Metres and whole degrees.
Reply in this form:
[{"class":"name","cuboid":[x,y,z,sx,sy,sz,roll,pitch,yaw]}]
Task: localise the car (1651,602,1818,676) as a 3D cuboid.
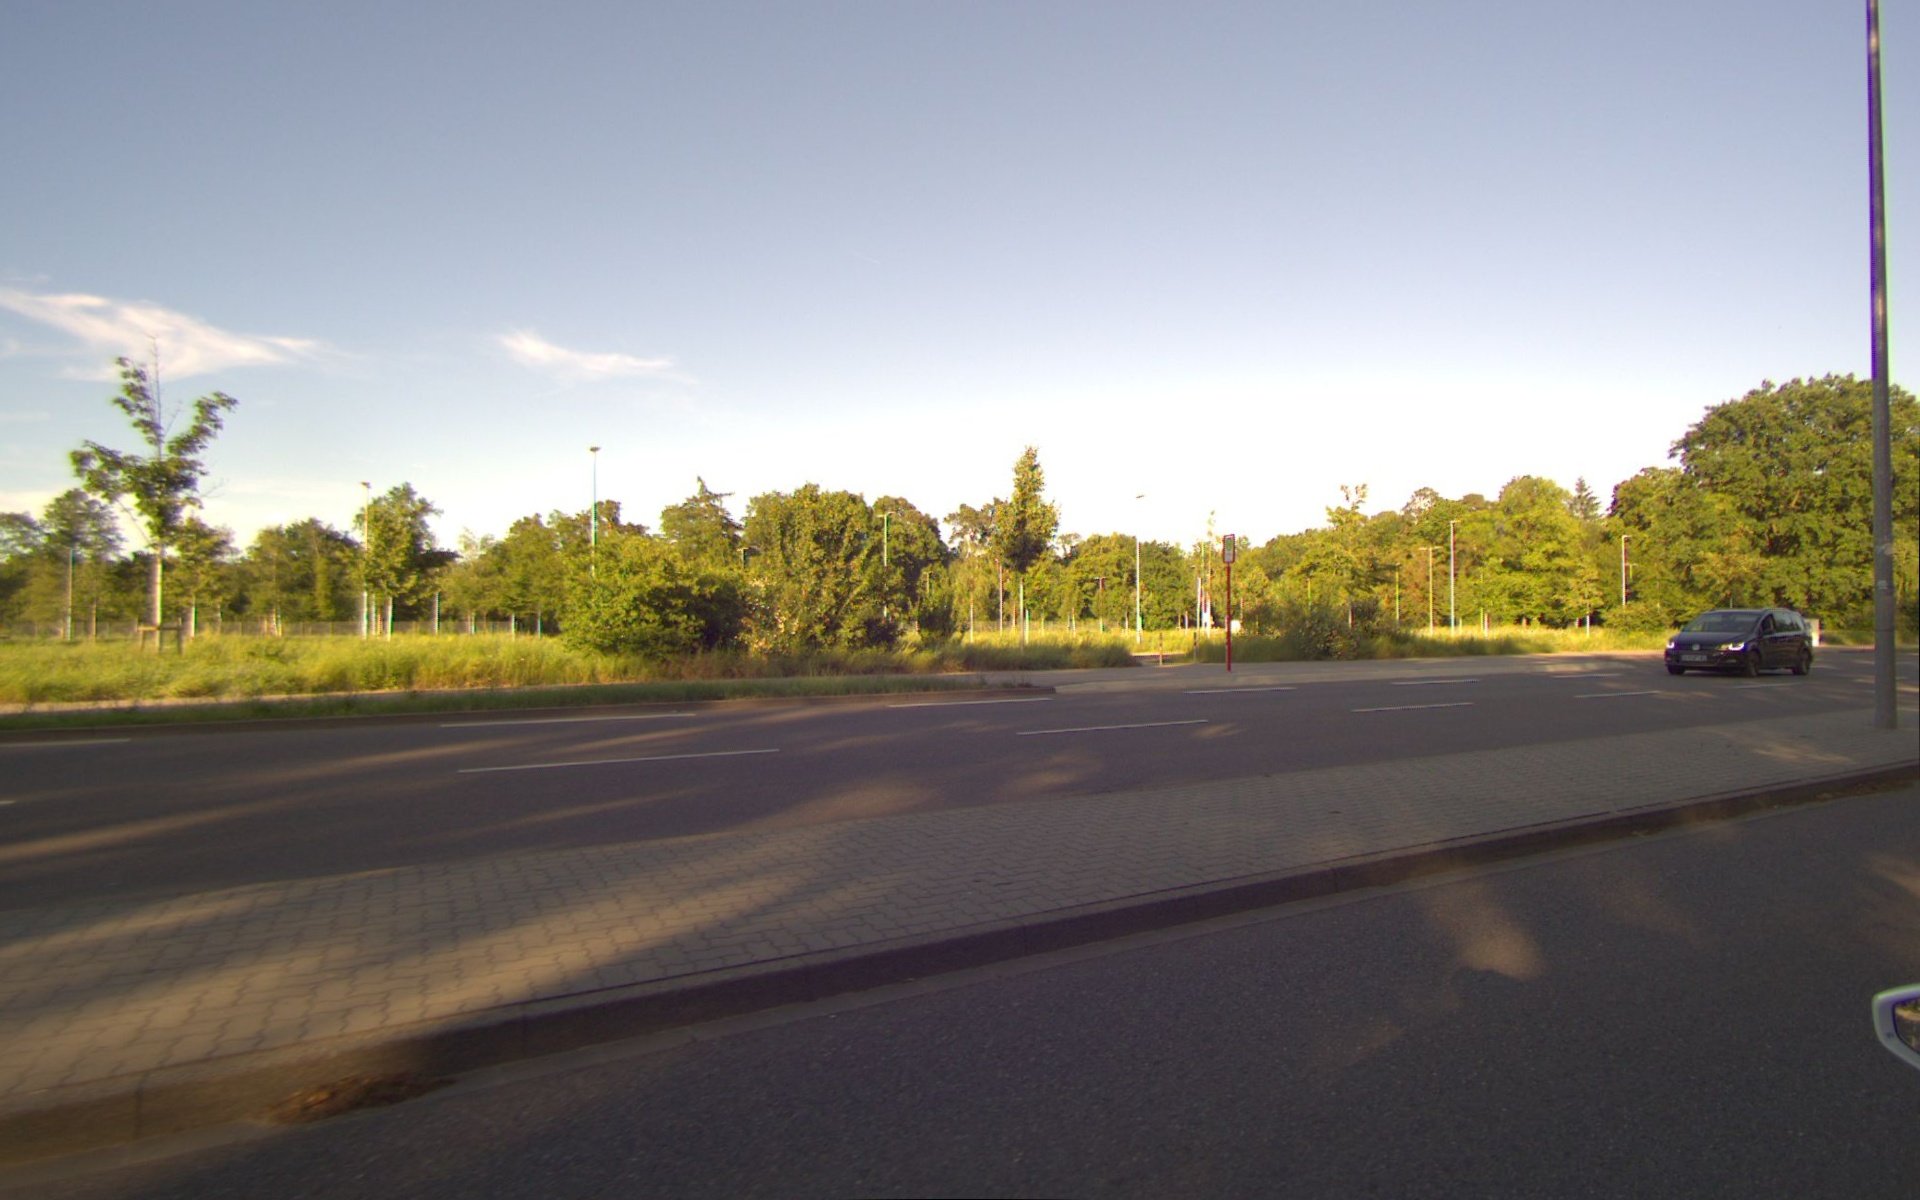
[{"class":"car","cuboid":[19.767,0.935,25.602,4.648,1.714,1.774,0,1,-31]}]
